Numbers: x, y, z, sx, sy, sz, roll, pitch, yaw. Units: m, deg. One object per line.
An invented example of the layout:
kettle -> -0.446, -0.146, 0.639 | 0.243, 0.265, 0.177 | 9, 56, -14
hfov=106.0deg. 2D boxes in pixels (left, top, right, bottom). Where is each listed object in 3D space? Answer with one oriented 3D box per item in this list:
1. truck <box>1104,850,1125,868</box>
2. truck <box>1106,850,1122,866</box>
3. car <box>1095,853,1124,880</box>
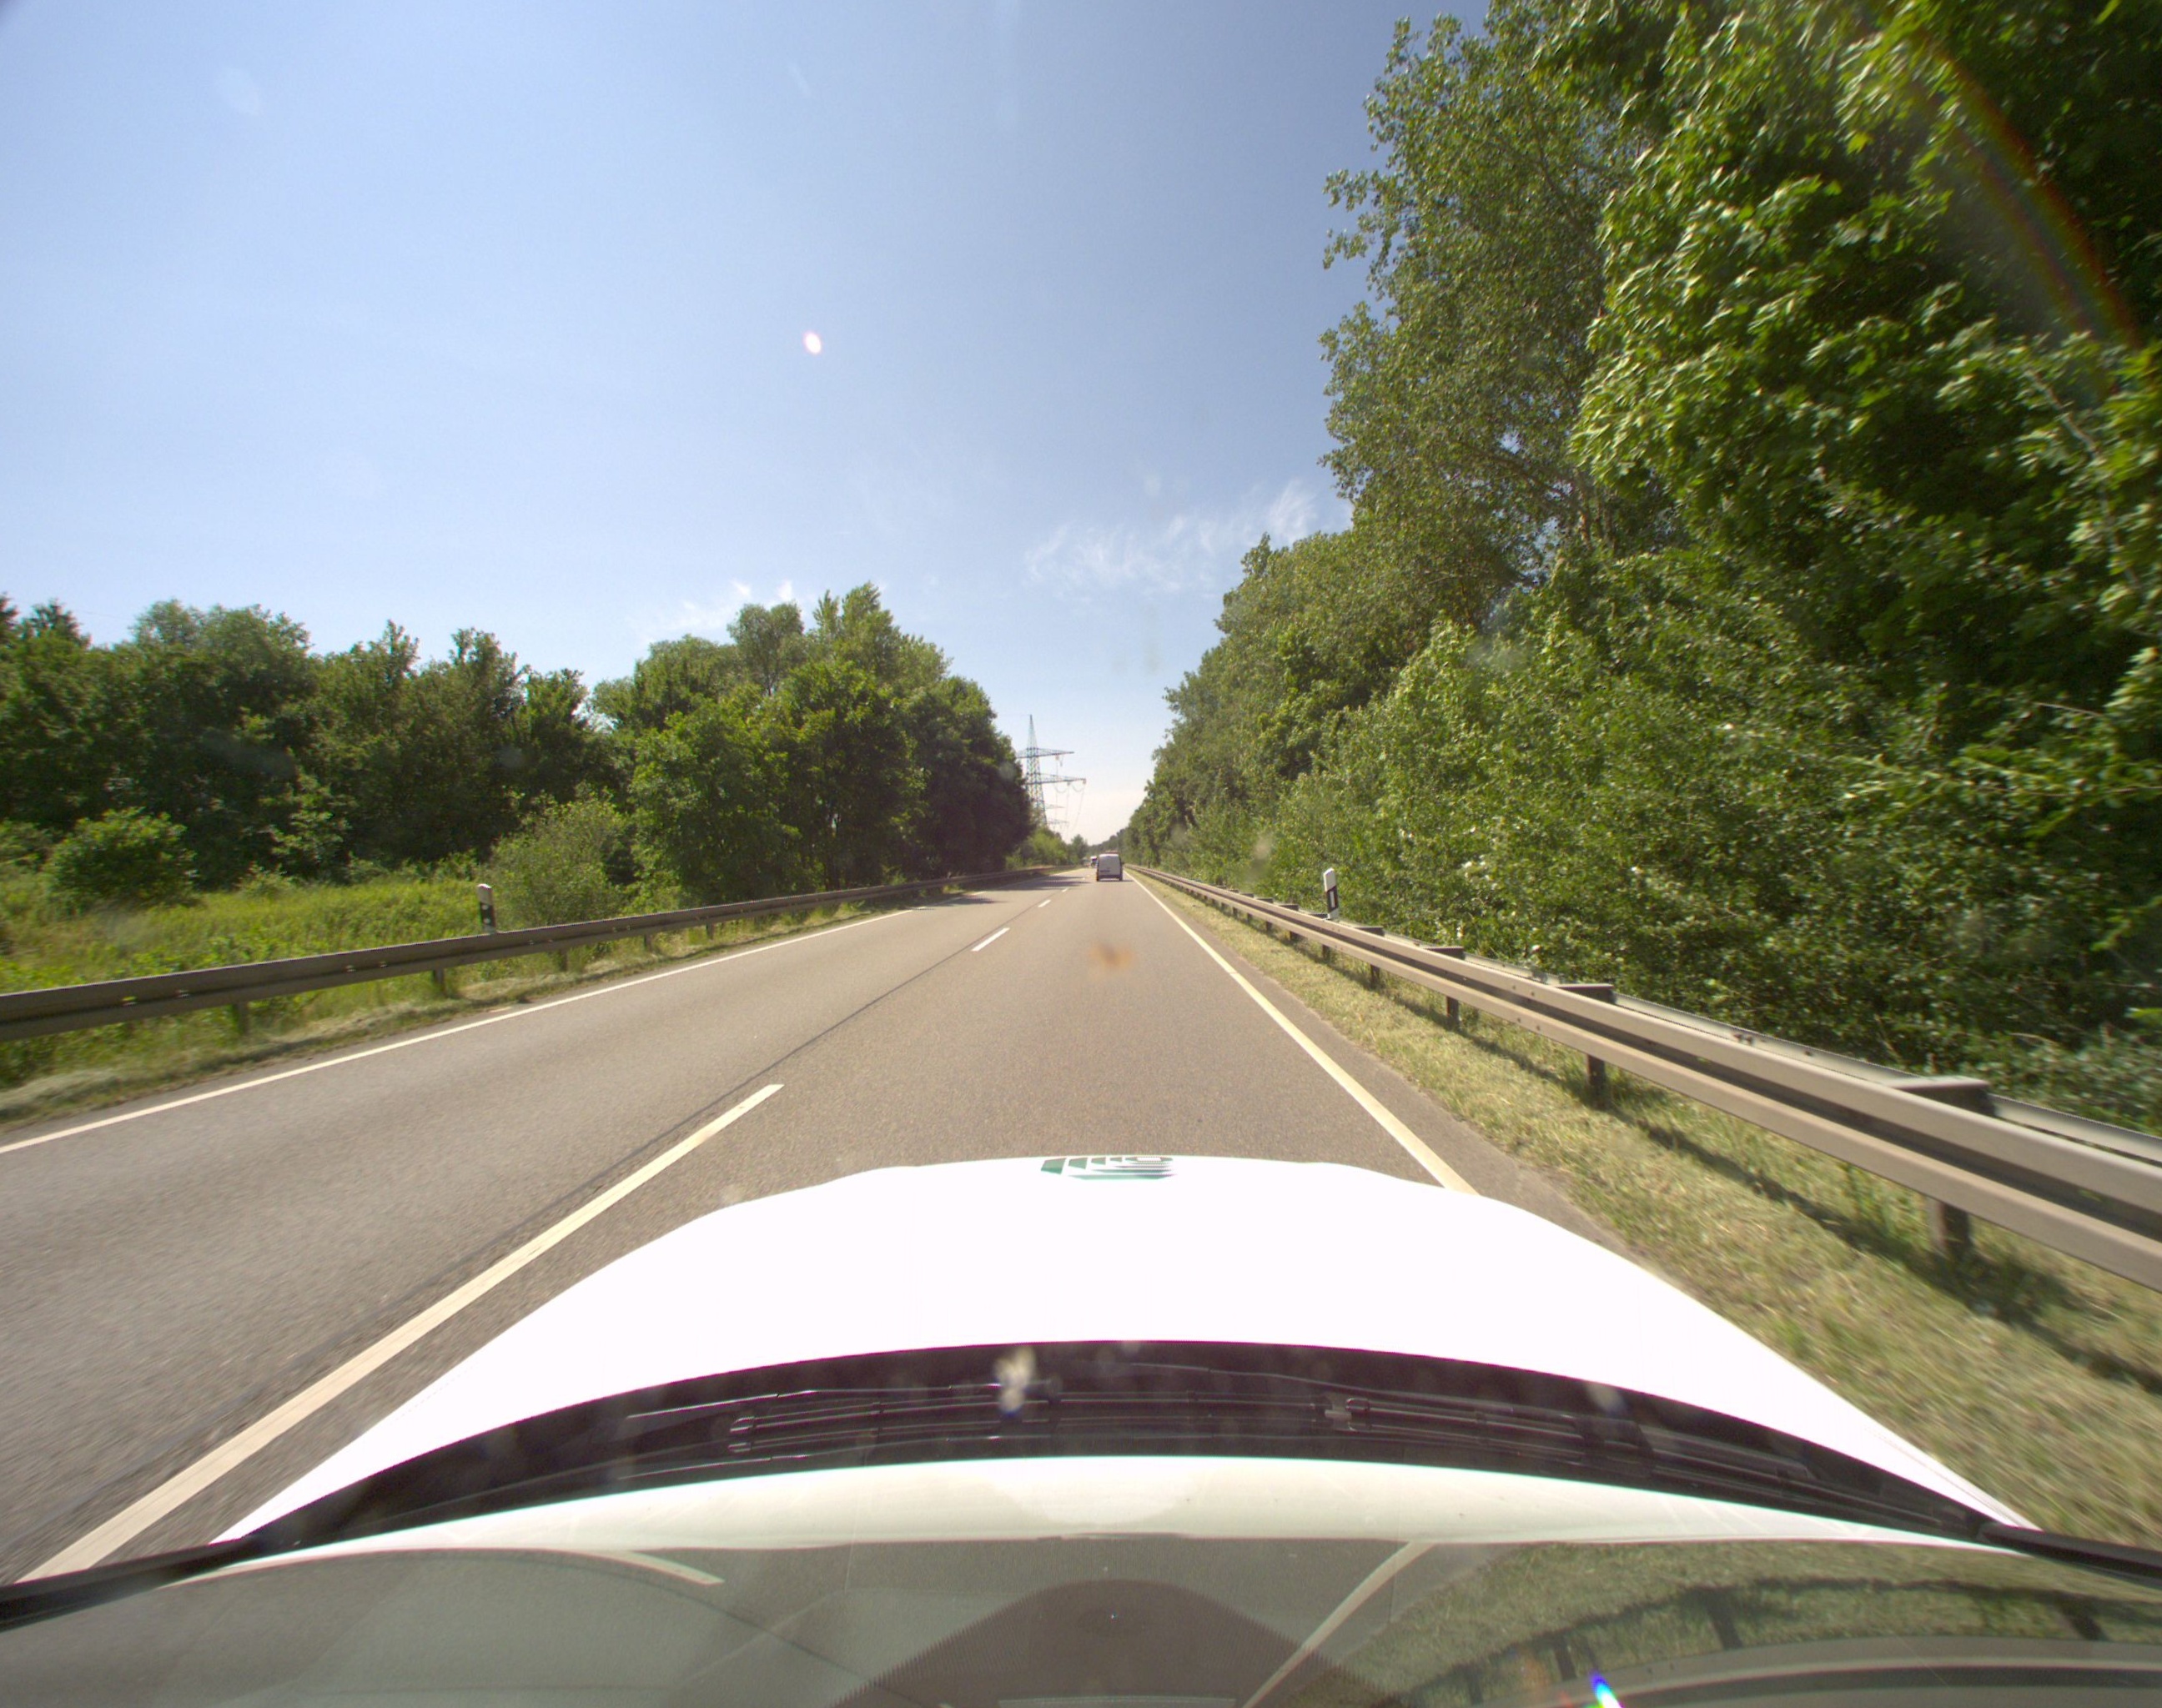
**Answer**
truck -> 6.120, 0.897, 150.084 | 3.286, 3.172, 14.402 | -1, 0, 0
truck -> 8.405, 0.961, 208.961 | 3.391, 3.854, 16.814 | -1, 0, 0
car -> 1.893, 0.825, 54.683 | 1.868, 1.741, 4.002 | -1, 0, 2
